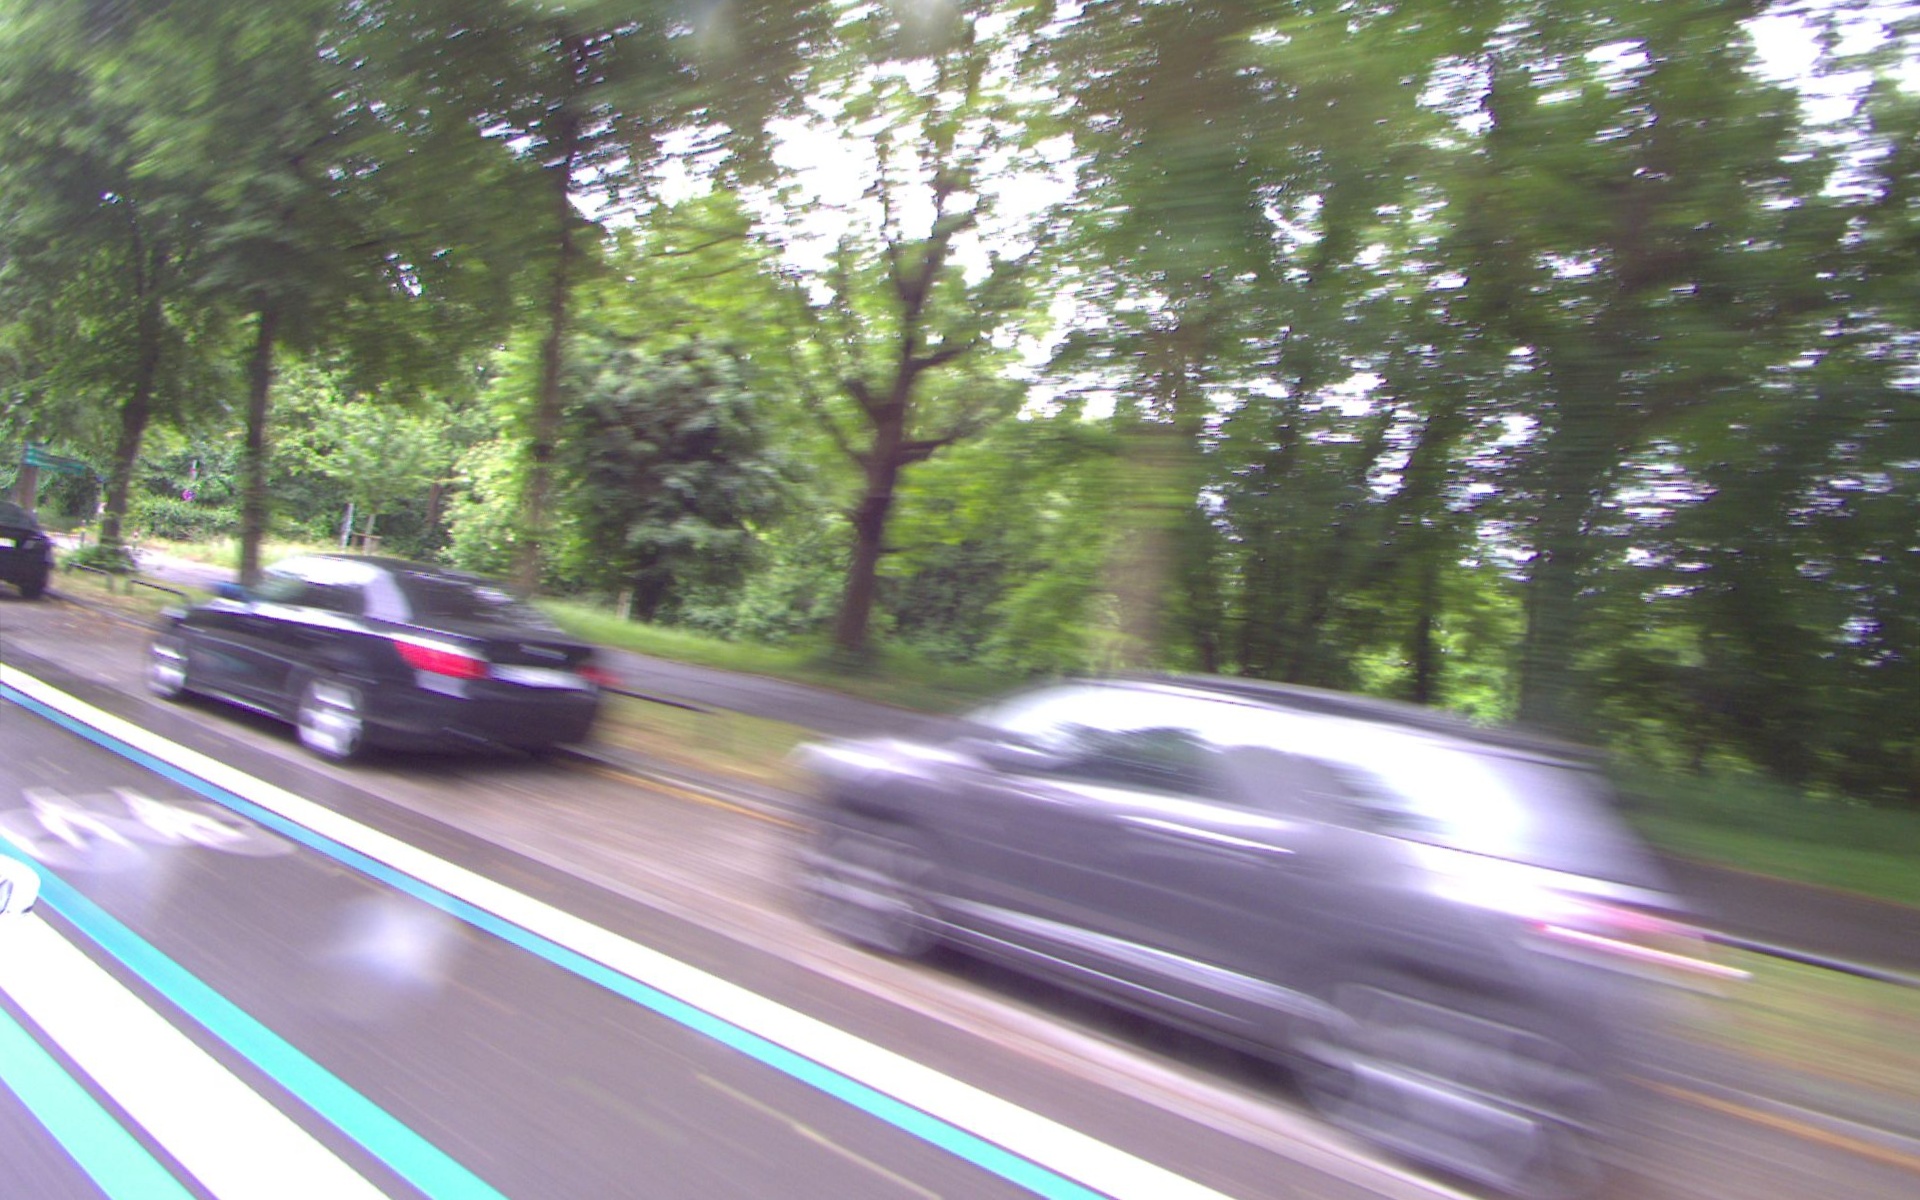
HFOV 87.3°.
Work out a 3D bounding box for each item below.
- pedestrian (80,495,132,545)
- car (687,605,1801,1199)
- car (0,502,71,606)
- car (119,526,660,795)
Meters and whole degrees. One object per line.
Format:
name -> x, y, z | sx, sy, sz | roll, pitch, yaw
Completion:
pedestrian -> -33.912, -3.169, 39.961 | 1.124, 1.753, 0.890 | 8, -1, 8
car -> 0.894, 1.030, 4.592 | 4.250, 1.444, 1.686 | 6, -2, 35
car -> -16.105, -0.943, 16.011 | 4.687, 1.435, 1.702 | 6, -3, 34
car -> -4.863, 0.380, 8.321 | 4.767, 1.423, 1.785 | 7, -2, 33
